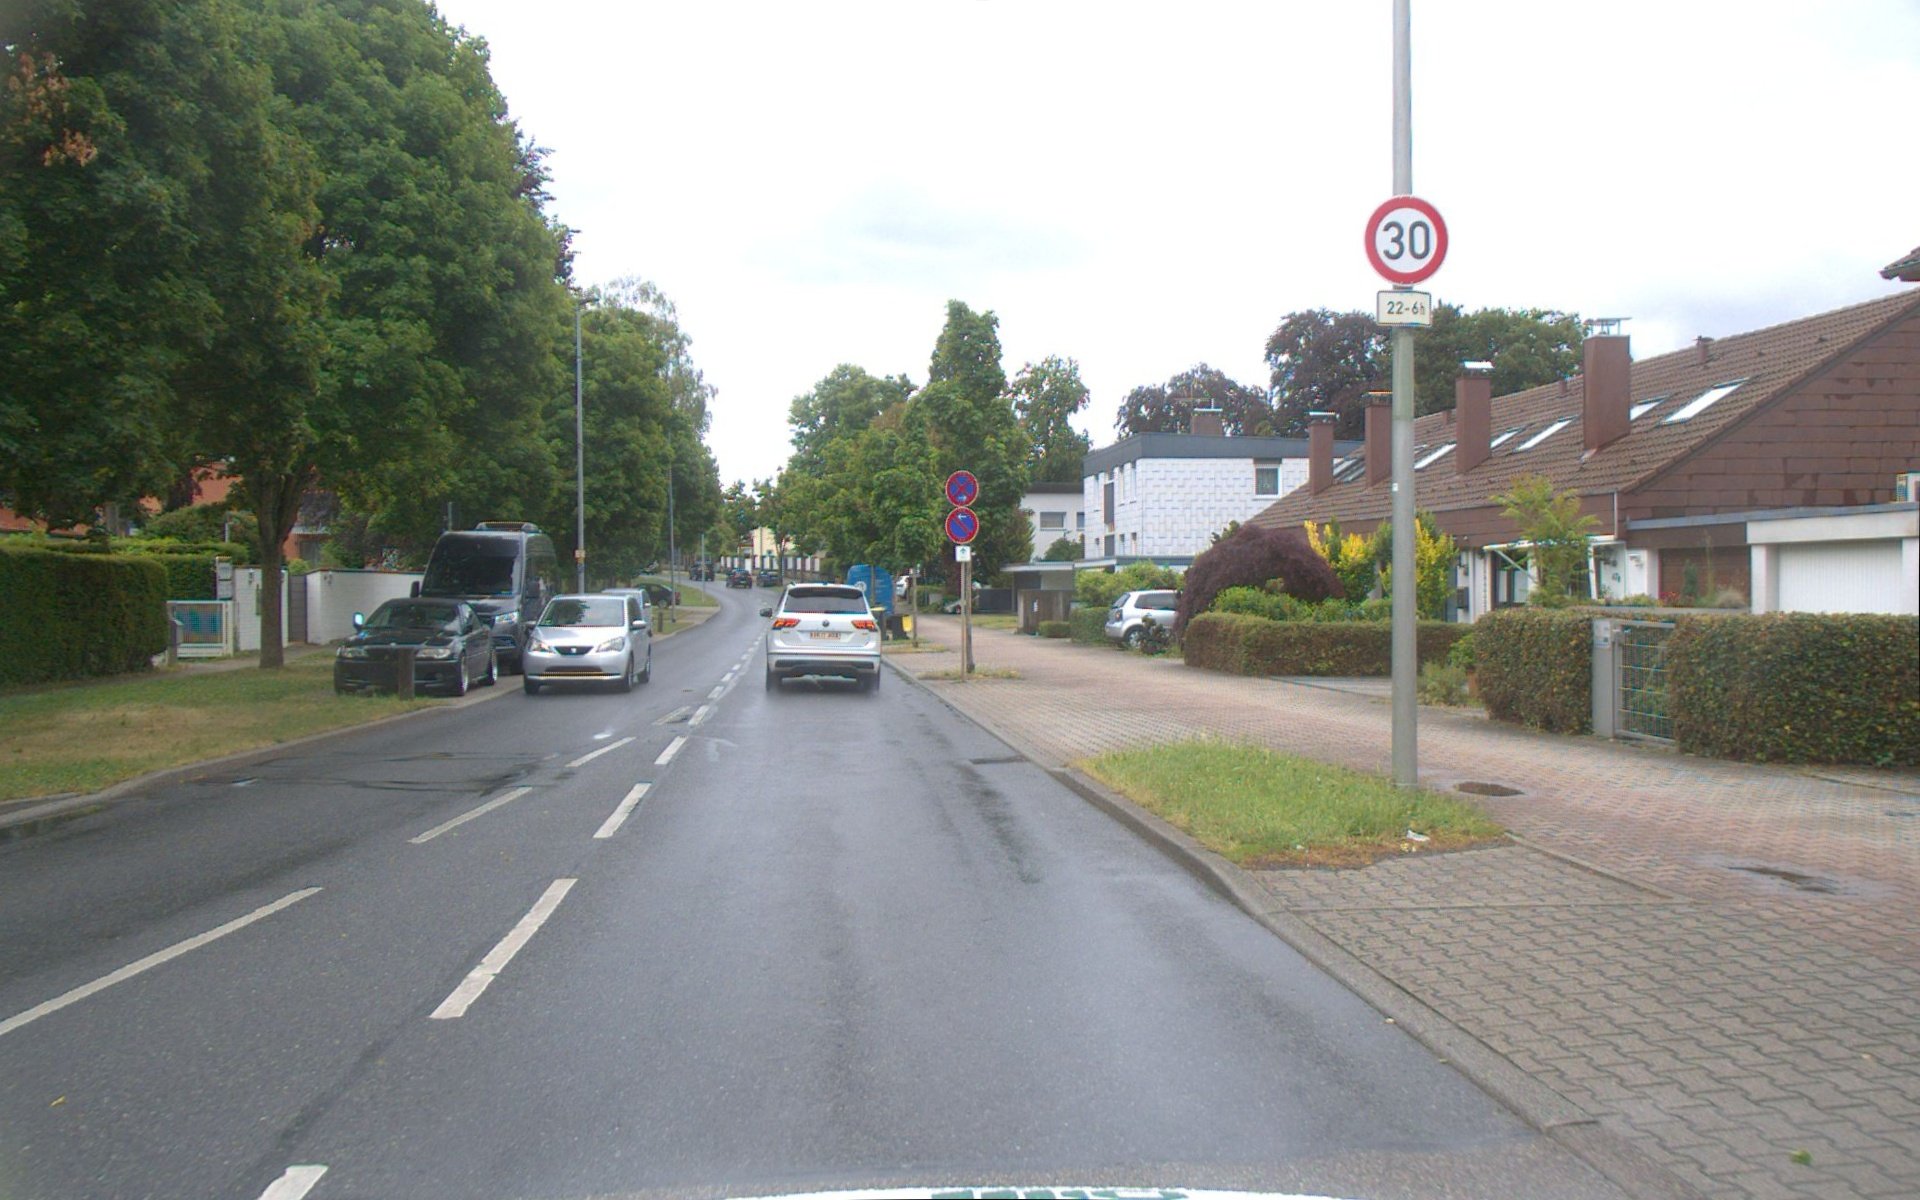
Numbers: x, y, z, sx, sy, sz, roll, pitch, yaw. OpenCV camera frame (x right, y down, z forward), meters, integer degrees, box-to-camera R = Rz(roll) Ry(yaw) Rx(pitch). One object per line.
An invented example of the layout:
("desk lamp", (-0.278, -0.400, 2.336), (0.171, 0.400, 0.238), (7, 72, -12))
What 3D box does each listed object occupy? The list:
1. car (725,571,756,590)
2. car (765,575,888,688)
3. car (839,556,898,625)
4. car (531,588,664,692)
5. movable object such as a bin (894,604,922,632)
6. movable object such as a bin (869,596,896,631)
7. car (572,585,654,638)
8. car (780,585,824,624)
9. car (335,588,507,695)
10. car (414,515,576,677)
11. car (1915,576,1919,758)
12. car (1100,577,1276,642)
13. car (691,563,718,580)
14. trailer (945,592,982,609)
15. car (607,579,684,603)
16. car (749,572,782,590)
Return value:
("car", (-18.568, -1.656, 139.652), (1.620, 1.452, 3.972), (0, 2, -23))
("car", (-2.244, 0.473, 26.963), (1.829, 1.679, 3.994), (1, 0, -7))
("car", (-3.832, -0.438, 68.426), (1.956, 2.631, 5.626), (-3, 1, -6))
("car", (-5.677, 0.580, 26.236), (1.563, 1.489, 3.450), (-1, 1, -5))
("movable object such as a bin", (-1.617, 0.559, 51.701), (0.645, 0.814, 0.601), (-4, 0, 19))
("movable object such as a bin", (-2.454, 0.411, 52.108), (0.601, 1.032, 0.563), (-5, 0, 19))
("car", (-10.271, 0.307, 49.182), (1.955, 1.428, 4.550), (-1, 1, -7))
("car", (-6.789, 0.178, 70.786), (1.736, 1.578, 3.993), (-1, 0, -7))
("car", (-7.911, 0.552, 24.610), (1.690, 1.433, 3.820), (-1, 0, -7))
("car", (-8.720, -0.117, 31.521), (1.955, 2.776, 5.931), (0, 1, -6))
("car", (9.004, 0.488, 11.489), (4.234, 1.282, 1.672), (0, 1, -17))
("car", (5.566, 0.220, 40.626), (3.912, 1.467, 1.844), (-1, 0, -8))
("car", (-23.927, -2.687, 154.924), (1.620, 1.452, 3.972), (0, 2, -23))
("trailer", (0.184, 0.016, 91.886), (2.001, 0.899, 1.363), (0, 1, -3))
("car", (-18.157, -0.529, 95.601), (4.133, 1.386, 1.689), (0, 1, -2))
("car", (-16.678, -1.600, 141.534), (1.622, 1.452, 3.969), (0, 2, -25))
